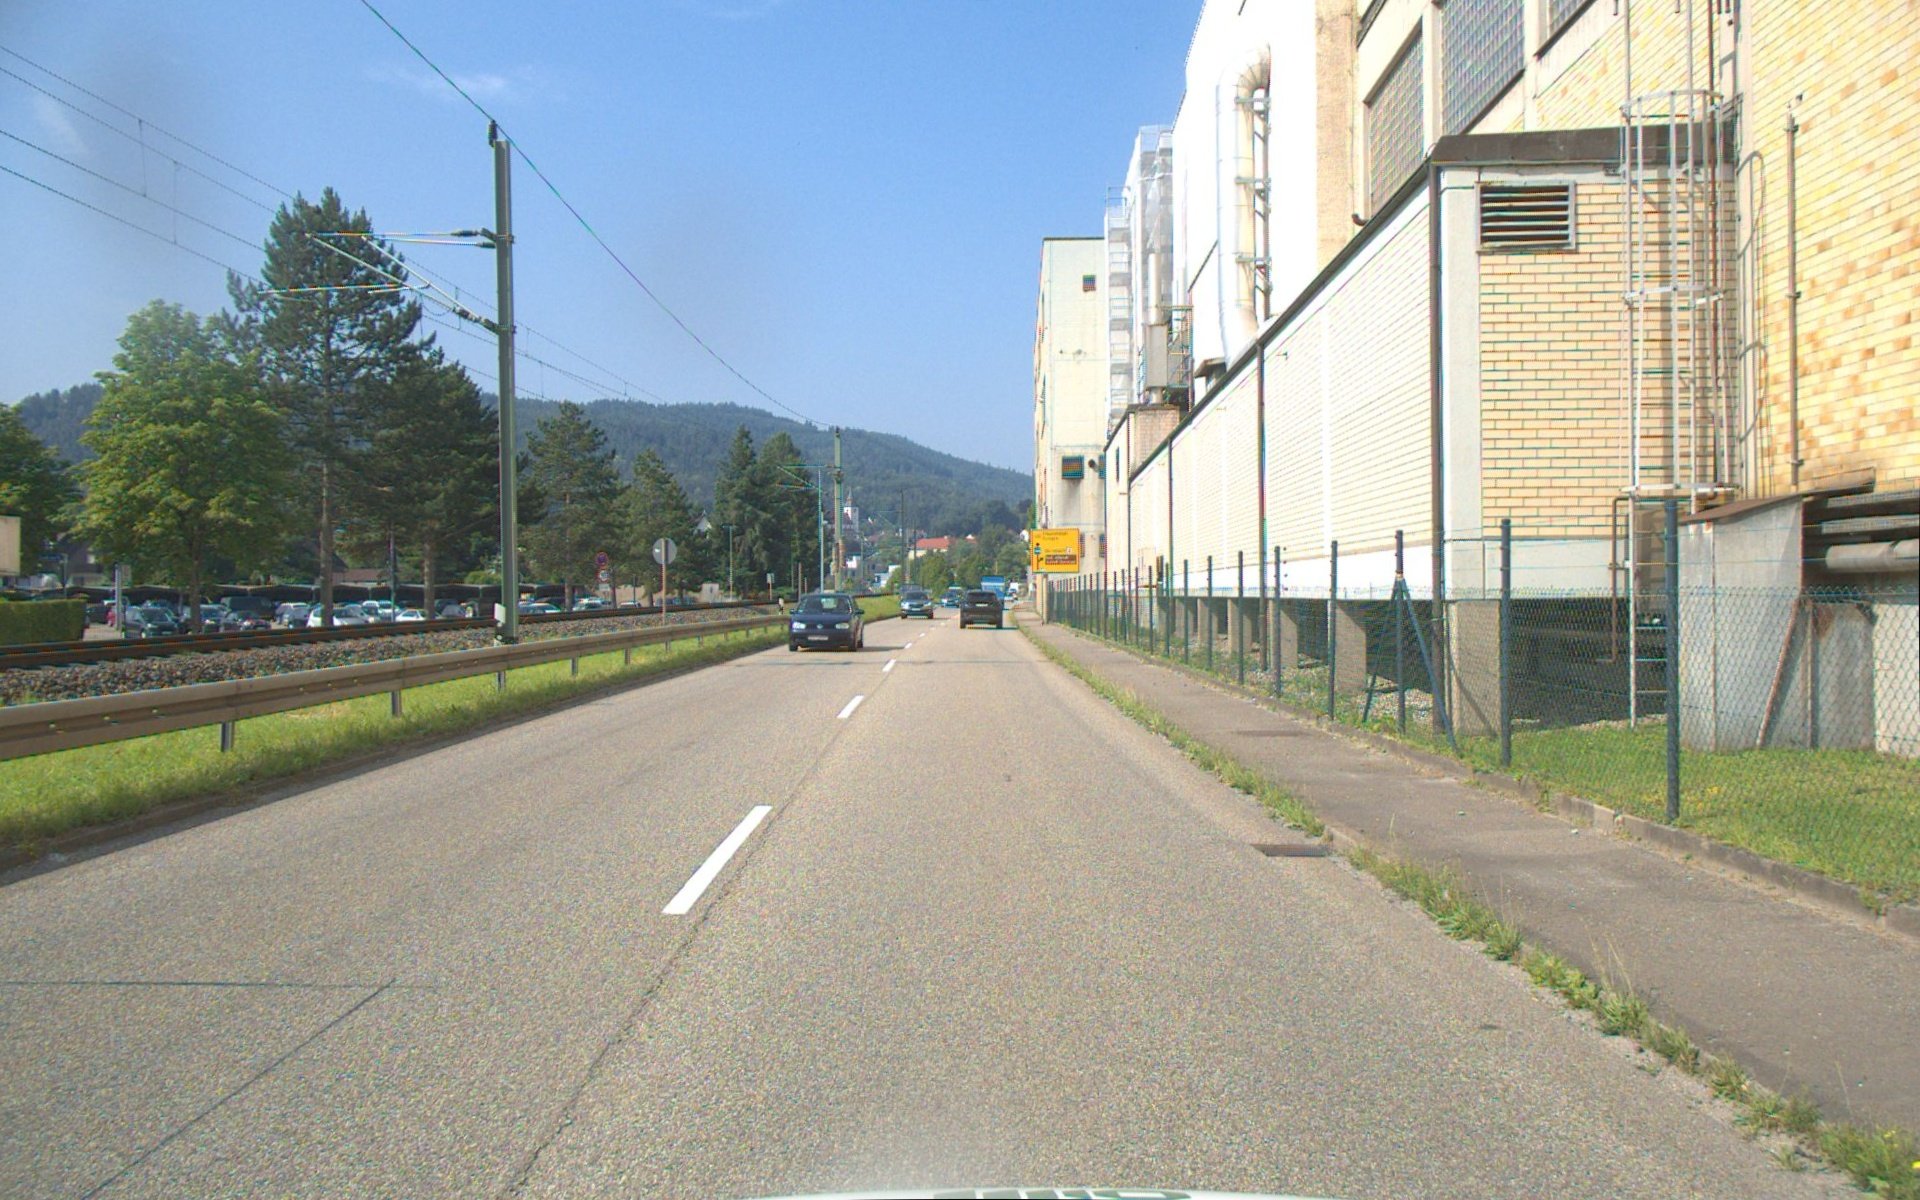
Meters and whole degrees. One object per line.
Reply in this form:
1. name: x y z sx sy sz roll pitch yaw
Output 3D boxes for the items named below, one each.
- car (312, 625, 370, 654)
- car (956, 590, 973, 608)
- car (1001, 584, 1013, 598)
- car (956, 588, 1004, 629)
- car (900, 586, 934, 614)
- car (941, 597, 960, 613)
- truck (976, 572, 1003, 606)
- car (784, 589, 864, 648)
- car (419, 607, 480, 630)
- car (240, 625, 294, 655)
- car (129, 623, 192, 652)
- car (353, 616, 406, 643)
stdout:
1. car: -33.210 2.097 88.682 1.674 1.469 3.793 -1 0 -42
2. car: 0.544 -0.138 199.628 1.721 2.114 4.809 1 0 3
3. car: 6.339 -1.206 222.634 1.632 1.854 3.753 -1 0 2
4. car: 0.886 0.349 71.549 1.879 1.668 4.002 0 0 4
5. car: -2.514 0.013 97.598 1.867 1.628 4.570 0 0 0
6. car: -0.941 0.493 161.241 1.731 1.430 4.297 -1 0 0
7. truck: 2.718 -1.037 152.069 2.265 3.022 5.965 -1 1 -1
8. car: -3.420 0.444 42.290 1.728 1.427 4.119 0 0 -1
9. car: -33.140 1.178 107.398 1.494 1.381 3.496 -1 0 45
10. car: -39.726 2.272 94.739 1.674 1.671 3.793 -1 0 -42
11. car: -41.716 1.962 86.236 3.785 1.431 1.678 -1 0 43
12. car: -35.136 1.782 100.107 1.674 1.533 3.793 -1 0 -42
